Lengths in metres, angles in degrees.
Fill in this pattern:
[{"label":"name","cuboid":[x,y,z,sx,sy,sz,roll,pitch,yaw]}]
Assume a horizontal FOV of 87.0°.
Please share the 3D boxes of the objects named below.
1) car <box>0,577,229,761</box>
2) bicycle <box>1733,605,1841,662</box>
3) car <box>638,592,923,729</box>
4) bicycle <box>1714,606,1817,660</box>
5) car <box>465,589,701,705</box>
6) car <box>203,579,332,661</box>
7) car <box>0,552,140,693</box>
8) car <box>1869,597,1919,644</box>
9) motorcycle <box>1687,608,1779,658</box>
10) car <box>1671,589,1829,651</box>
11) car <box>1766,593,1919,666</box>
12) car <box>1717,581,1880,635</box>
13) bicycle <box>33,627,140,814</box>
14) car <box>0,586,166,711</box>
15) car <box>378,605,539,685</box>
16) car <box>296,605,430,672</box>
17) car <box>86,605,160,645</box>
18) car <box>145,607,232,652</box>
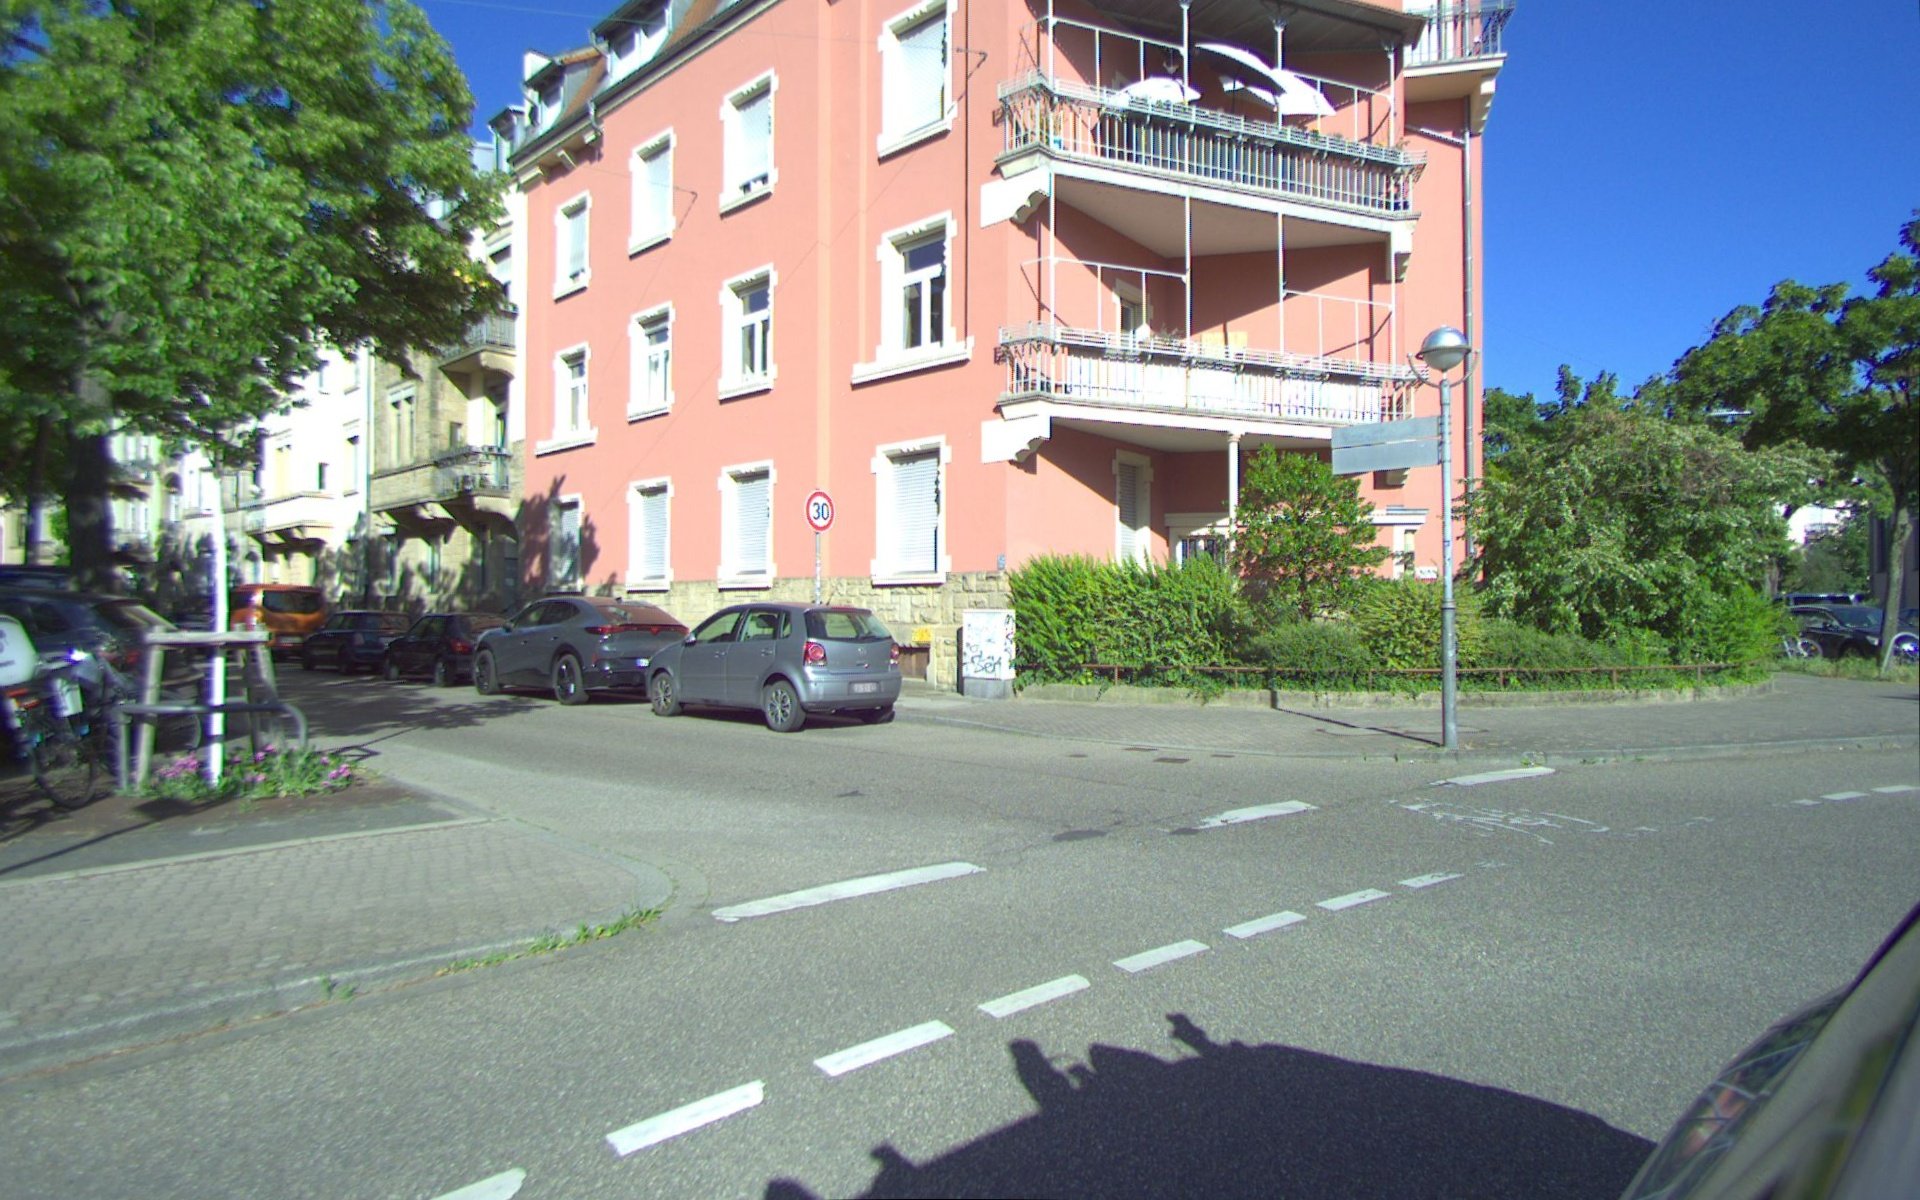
[{"label":"car","cuboid":[-8.729,0.541,8.539,3.840,1.465,1.691,2,-2,-24]},{"label":"bicycle","cuboid":[17.793,0.712,21.813,1.701,1.129,0.544,2,0,14]},{"label":"car","cuboid":[-2.314,0.672,12.636,3.531,1.465,1.662,0,-2,42]},{"label":"bicycle","cuboid":[18.018,0.735,22.666,1.701,1.129,0.544,2,0,14]},{"label":"car","cuboid":[-6.032,0.667,15.962,4.277,1.583,1.662,0,-2,42]},{"label":"car","cuboid":[-19.098,0.530,27.850,4.257,2.071,1.913,0,-2,42]},{"label":"car","cuboid":[-13.882,0.295,14.153,3.312,1.889,1.691,1,-2,-20]},{"label":"car","cuboid":[31.705,0.680,32.652,1.784,1.492,4.316,1,0,16]},{"label":"motorcycle","cuboid":[18.461,0.774,24.185,1.697,1.121,0.500,2,0,7]},{"label":"car","cuboid":[22.578,0.538,29.147,1.782,1.581,4.382,-2,-1,12]},{"label":"car","cuboid":[21.225,0.622,23.560,1.779,1.502,4.329,-2,-1,8]},{"label":"car","cuboid":[33.338,0.314,40.367,4.701,2.027,1.805,1,-1,9]},{"label":"bicycle","cuboid":[-5.978,0.757,6.902,0.412,1.100,1.522,3,-1,-45]},{"label":"car","cuboid":[-11.947,0.569,12.414,3.319,1.465,1.688,2,-2,-35]},{"label":"car","cuboid":[-9.719,0.815,19.549,3.267,1.399,1.662,0,-2,42]},{"label":"car","cuboid":[-13.541,0.830,22.918,3.267,1.399,1.662,0,-2,42]},{"label":"car","cuboid":[-32.546,0.938,39.344,3.482,1.477,1.662,0,-2,42]},{"label":"car","cuboid":[-25.904,0.963,33.948,3.482,1.399,1.662,0,-2,42]}]
